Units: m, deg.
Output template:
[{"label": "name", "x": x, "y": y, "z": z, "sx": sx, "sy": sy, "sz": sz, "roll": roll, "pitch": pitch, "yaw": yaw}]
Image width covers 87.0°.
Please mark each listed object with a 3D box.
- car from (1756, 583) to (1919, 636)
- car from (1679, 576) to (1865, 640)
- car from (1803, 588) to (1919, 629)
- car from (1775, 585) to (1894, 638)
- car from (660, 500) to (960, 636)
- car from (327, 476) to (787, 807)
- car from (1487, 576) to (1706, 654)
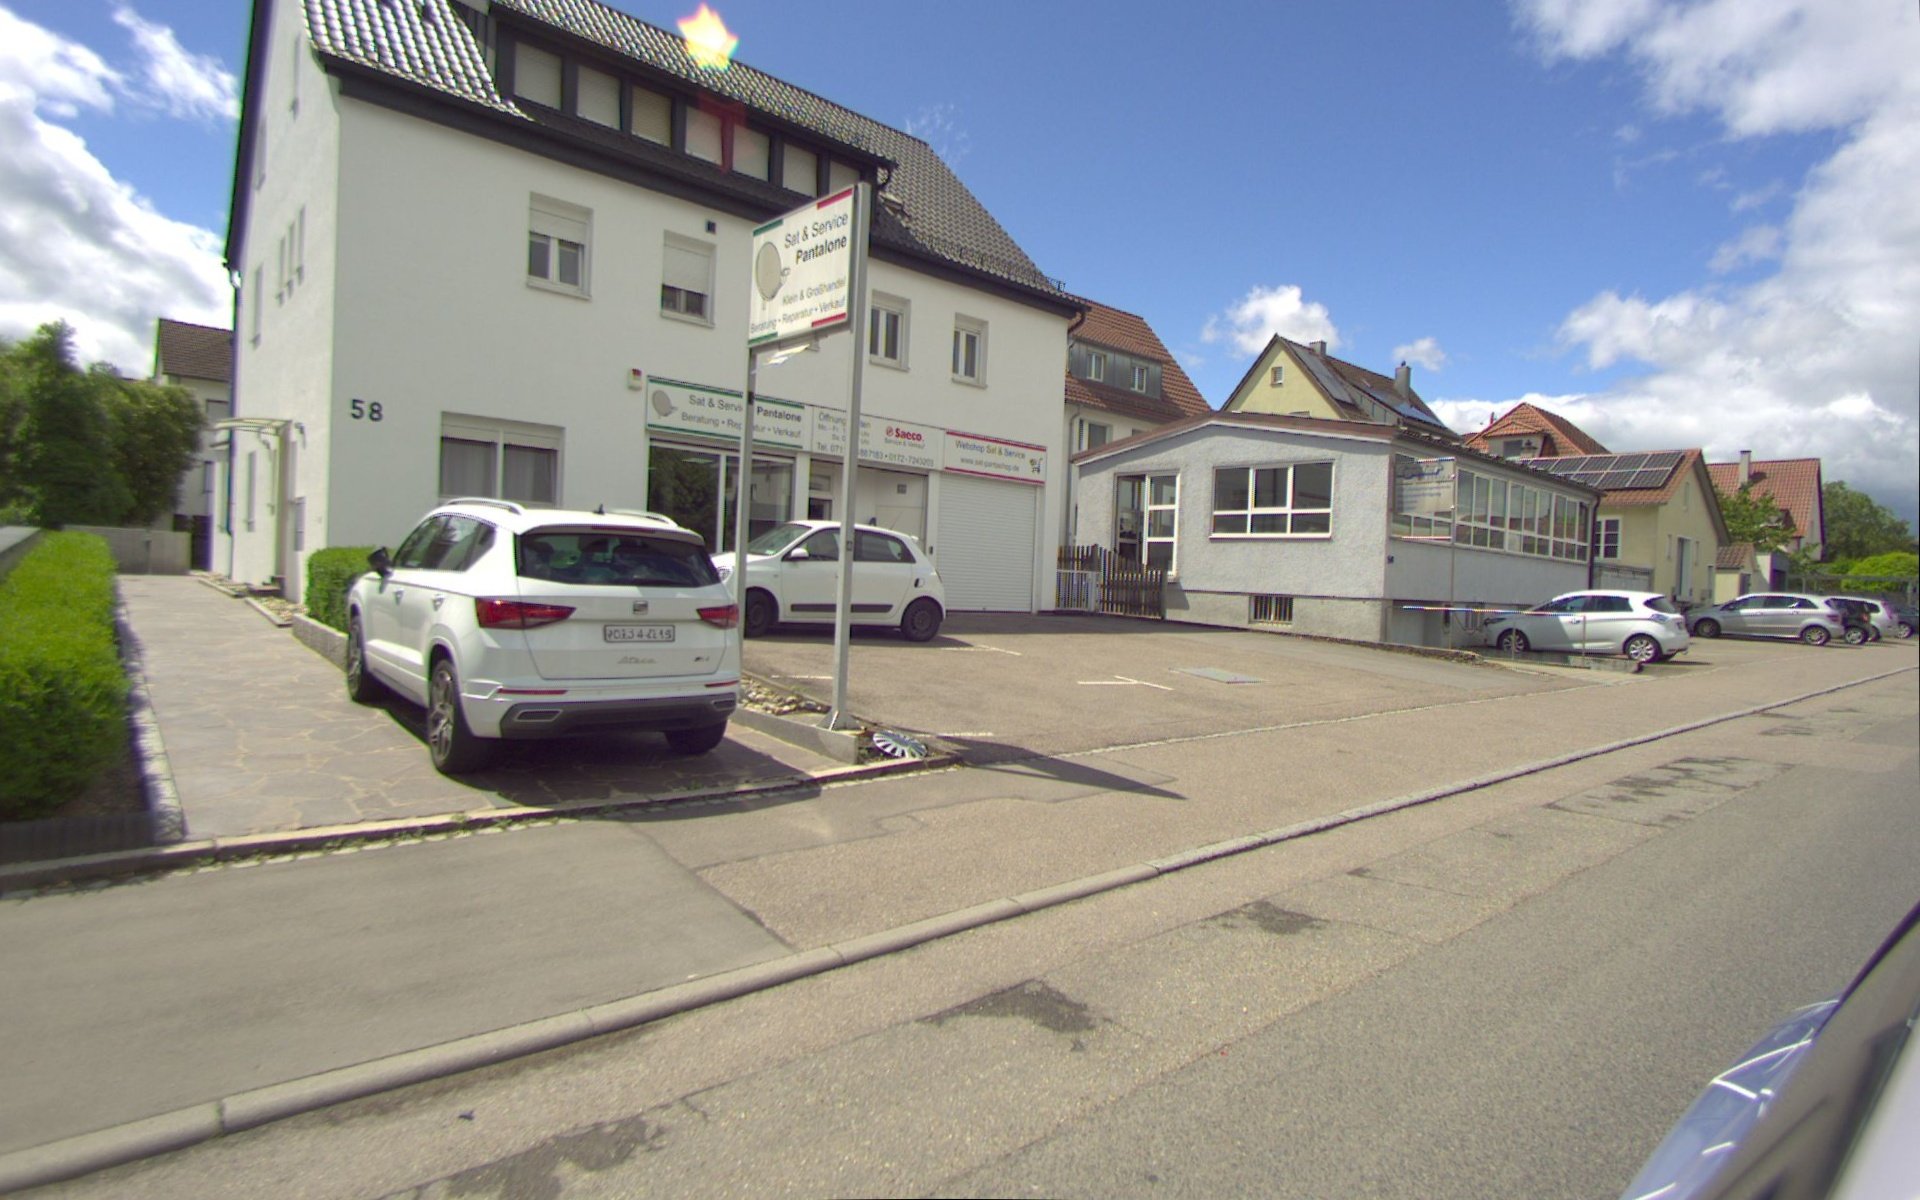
[{"label": "car", "x": 32.919, "y": 0.328, "z": 38.030, "sx": 1.941, "sy": 1.543, "sz": 4.415, "roll": 1, "pitch": 5, "yaw": -43}, {"label": "car", "x": 26.452, "y": 0.214, "z": 33.079, "sx": 1.941, "sy": 1.627, "sz": 4.415, "roll": 1, "pitch": 5, "yaw": -43}, {"label": "car", "x": 39.053, "y": 0.368, "z": 43.233, "sx": 1.941, "sy": 1.424, "sz": 4.415, "roll": 1, "pitch": 5, "yaw": -43}, {"label": "car", "x": 30.509, "y": 0.358, "z": 35.336, "sx": 1.941, "sy": 1.543, "sz": 2.893, "roll": 1, "pitch": 4, "yaw": -43}, {"label": "car", "x": -1.994, "y": -0.409, "z": 13.712, "sx": 3.592, "sy": 1.537, "sz": 1.639, "roll": 3, "pitch": 3, "yaw": -33}, {"label": "car", "x": -3.173, "y": 0.029, "z": 7.370, "sx": 1.834, "sy": 1.673, "sz": 4.204, "roll": 1, "pitch": 5, "yaw": -40}, {"label": "car", "x": 14.359, "y": 0.300, "z": 22.970, "sx": 1.719, "sy": 1.629, "sz": 3.905, "roll": 1, "pitch": 0, "yaw": -41}]
